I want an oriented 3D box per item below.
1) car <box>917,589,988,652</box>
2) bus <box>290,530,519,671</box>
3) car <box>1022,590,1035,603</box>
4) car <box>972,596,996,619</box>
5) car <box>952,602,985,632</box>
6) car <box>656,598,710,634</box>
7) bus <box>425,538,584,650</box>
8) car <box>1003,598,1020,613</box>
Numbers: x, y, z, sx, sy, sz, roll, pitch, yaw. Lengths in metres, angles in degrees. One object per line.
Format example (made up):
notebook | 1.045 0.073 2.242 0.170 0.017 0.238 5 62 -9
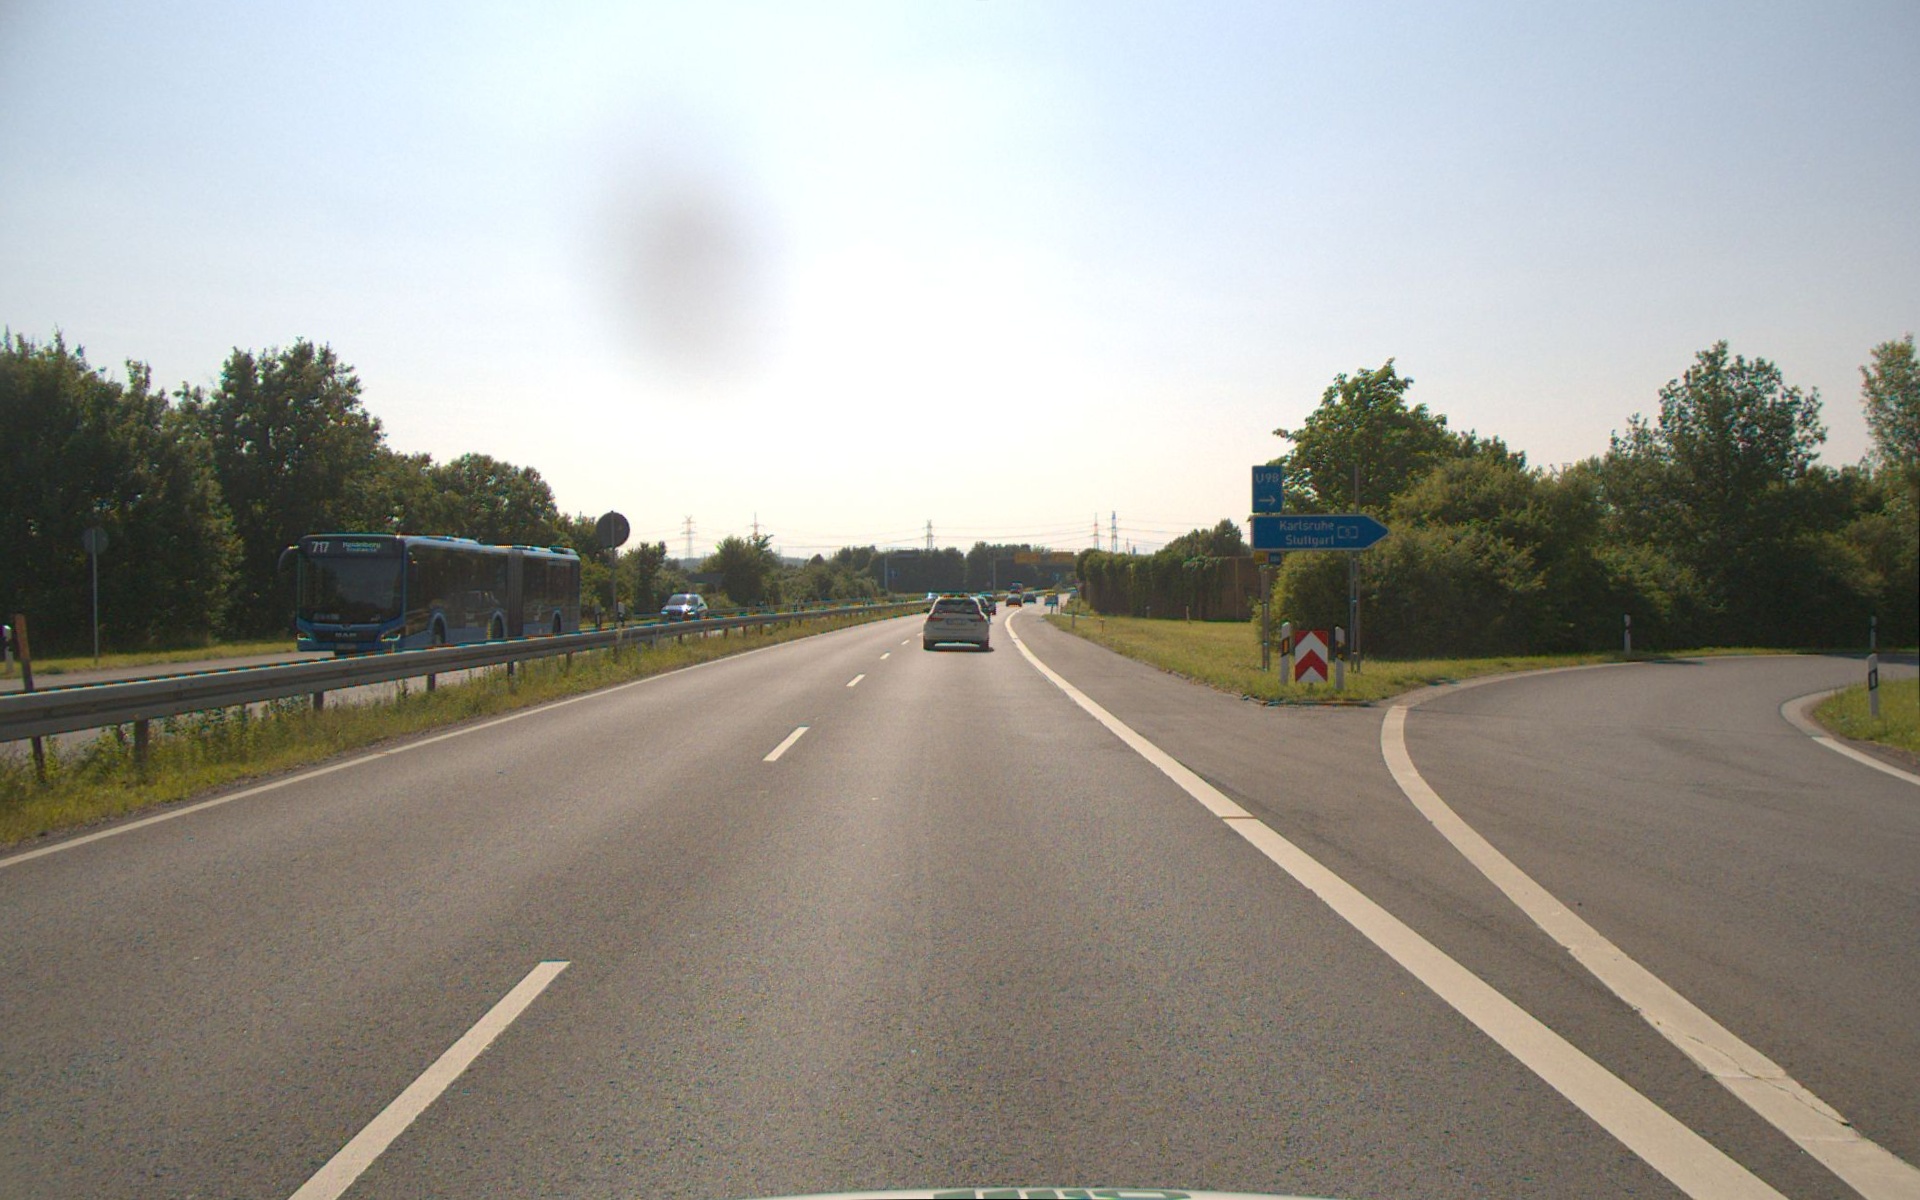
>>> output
car | -0.220 0.547 47.101 1.918 1.629 4.107 1 1 -1
bus | -13.978 -0.020 42.655 2.670 3.164 9.834 -1 0 -1
car | 9.613 -0.467 231.885 1.802 1.728 4.002 0 0 3
car | 1.907 0.571 131.546 1.732 1.767 3.633 0 0 3
car | 0.490 0.904 90.405 1.756 1.570 3.672 0 0 1
car | -13.752 0.791 82.334 1.952 1.633 4.274 1 1 0
bus | -14.052 -0.200 51.772 2.670 3.164 8.392 -1 0 0
car | 6.114 0.647 194.810 1.802 1.834 4.002 0 0 4
